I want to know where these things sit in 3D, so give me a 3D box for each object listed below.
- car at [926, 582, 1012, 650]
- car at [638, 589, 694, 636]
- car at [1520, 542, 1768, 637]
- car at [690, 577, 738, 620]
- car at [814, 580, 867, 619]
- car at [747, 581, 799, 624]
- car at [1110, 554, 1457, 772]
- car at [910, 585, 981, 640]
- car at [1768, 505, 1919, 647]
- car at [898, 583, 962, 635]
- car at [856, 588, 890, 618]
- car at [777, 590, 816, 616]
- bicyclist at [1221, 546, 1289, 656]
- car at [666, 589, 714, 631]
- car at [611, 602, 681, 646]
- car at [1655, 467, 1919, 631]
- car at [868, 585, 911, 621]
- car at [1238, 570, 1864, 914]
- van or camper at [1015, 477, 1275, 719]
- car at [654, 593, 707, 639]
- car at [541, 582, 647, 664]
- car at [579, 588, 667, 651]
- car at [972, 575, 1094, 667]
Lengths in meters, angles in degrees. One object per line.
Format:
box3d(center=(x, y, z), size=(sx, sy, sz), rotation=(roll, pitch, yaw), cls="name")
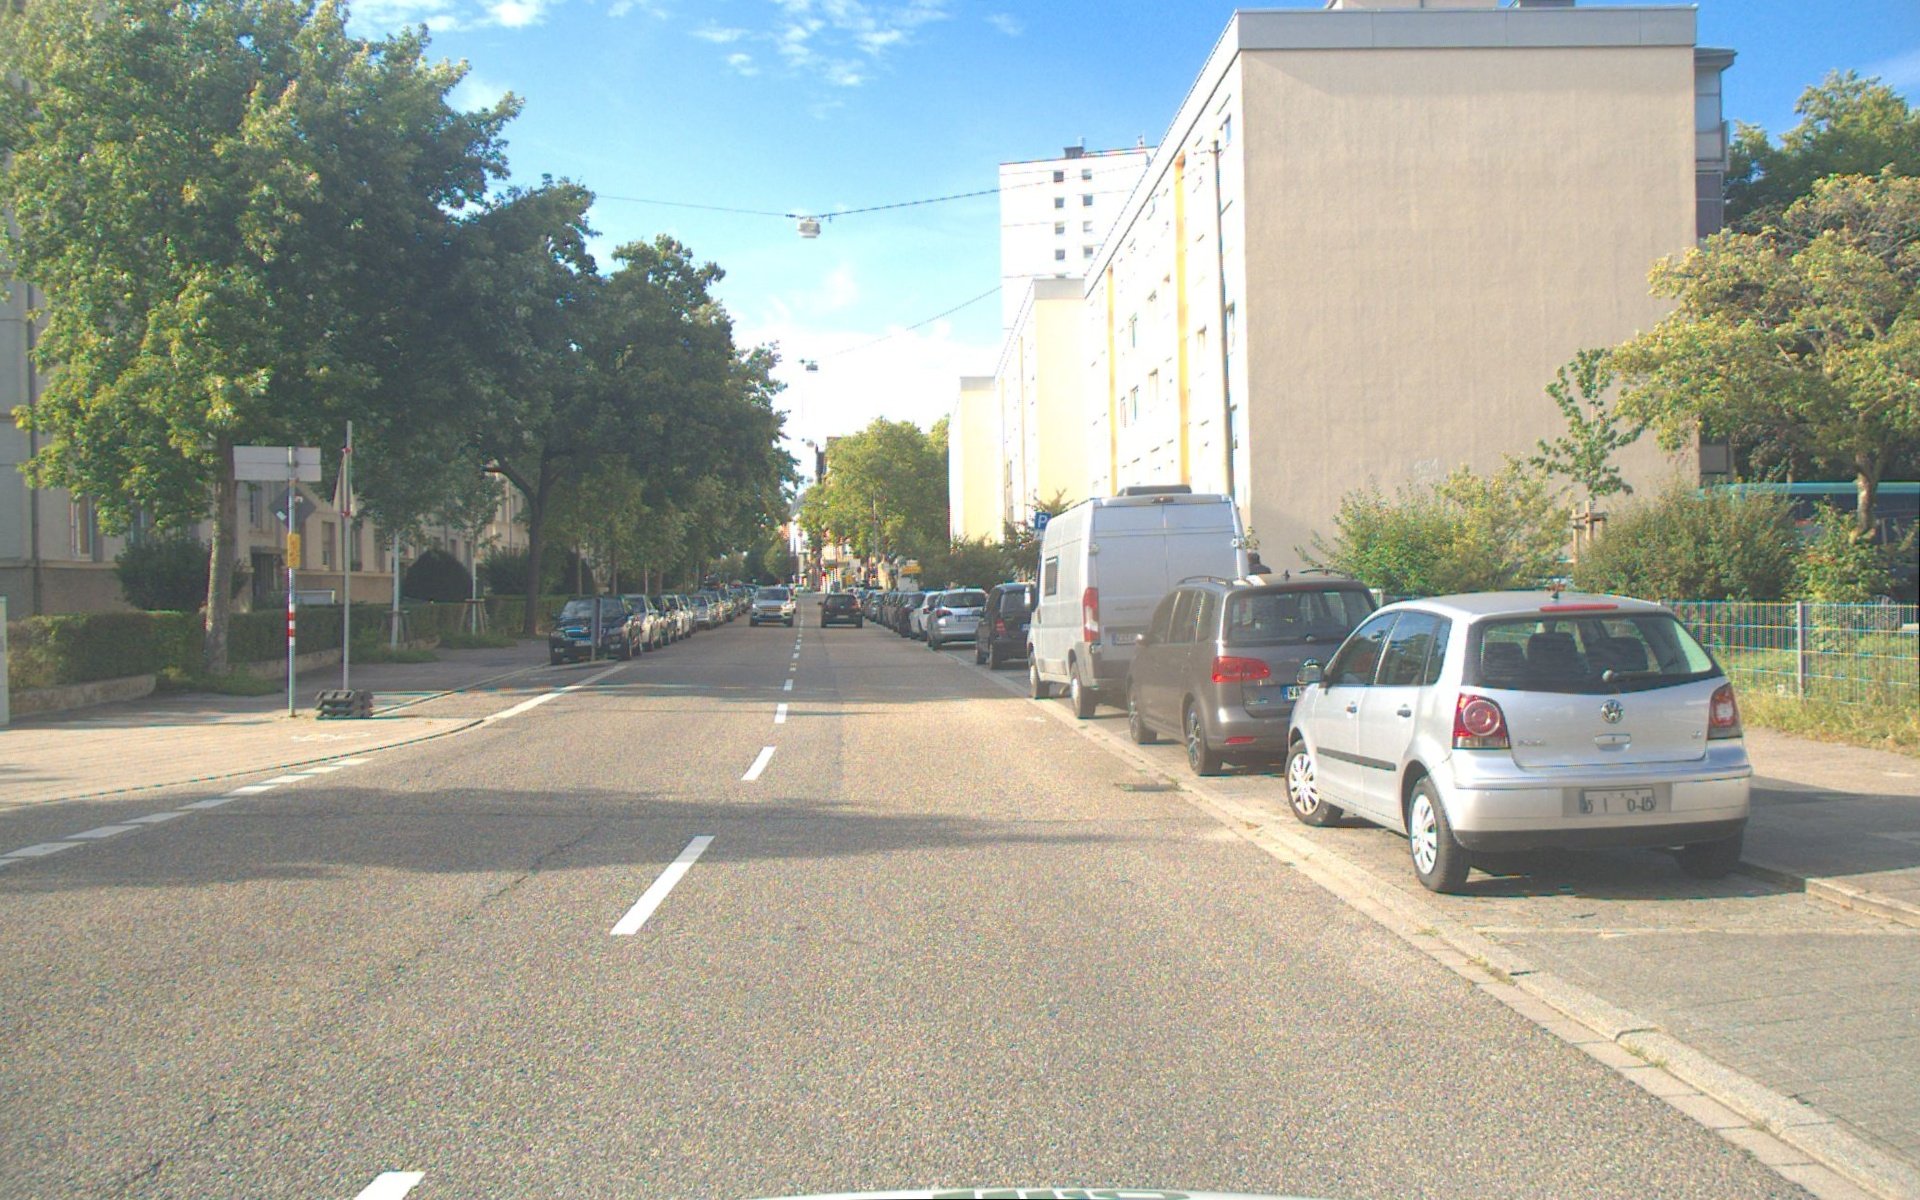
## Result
box3d(center=(0.181, 0.385, 42.695), size=(1.954, 1.601, 3.998), rotation=(-2, 1, -3), cls="car")
box3d(center=(-9.466, 0.392, 53.449), size=(1.607, 1.414, 3.427), rotation=(-2, 1, -8), cls="car")
box3d(center=(12.983, -0.199, 31.606), size=(3.904, 1.612, 2.001), rotation=(-2, 0, 3), cls="car")
box3d(center=(-12.402, -0.104, 83.694), size=(1.954, 2.048, 3.998), rotation=(-2, 1, -3), cls="car")
box3d(center=(-5.041, -0.035, 69.320), size=(1.956, 1.598, 3.992), rotation=(-1, 0, -8), cls="car")
box3d(center=(-8.009, 0.082, 70.602), size=(2.017, 1.692, 3.919), rotation=(-2, 1, -8), cls="car")
box3d(center=(2.764, 0.472, 15.230), size=(1.955, 1.644, 4.403), rotation=(-2, 1, -5), cls="car")
box3d(center=(-0.484, 0.343, 50.576), size=(1.954, 1.556, 3.998), rotation=(-2, 1, -3), cls="car")
box3d(center=(13.208, -0.374, 22.005), size=(3.904, 1.769, 2.000), rotation=(-2, 0, 1), cls="car")
box3d(center=(-1.033, 0.268, 55.243), size=(1.954, 1.601, 3.998), rotation=(-2, 1, -3), cls="car")
box3d(center=(-5.173, 0.163, 98.412), size=(1.954, 1.713, 3.998), rotation=(-2, 1, -3), cls="car")
box3d(center=(-10.253, 0.183, 103.393), size=(1.959, 1.598, 3.987), rotation=(-1, 0, -13), cls="car")
box3d(center=(4.353, 0.013, 24.458), size=(0.722, 1.540, 0.874), rotation=(-4, 0, -3), cls="bicyclist")
box3d(center=(-10.934, 0.402, 67.073), size=(1.773, 1.588, 3.427), rotation=(-2, 1, -8), cls="car")
box3d(center=(-9.086, 0.682, 48.047), size=(1.773, 1.135, 3.584), rotation=(-2, 1, -8), cls="car")
box3d(center=(12.725, -0.754, 24.430), size=(4.034, 2.224, 2.000), rotation=(-2, 0, 1), cls="car")
box3d(center=(-3.426, 0.118, 80.137), size=(1.954, 1.601, 3.998), rotation=(-2, 1, -3), cls="car")
box3d(center=(3.147, 0.655, 10.067), size=(1.975, 1.500, 4.801), rotation=(-3, 0, -1), cls="car")
box3d(center=(2.183, -0.051, 21.277), size=(2.167, 2.652, 5.365), rotation=(-2, 1, -6), cls="van or camper")
box3d(center=(-10.244, 0.564, 60.838), size=(1.773, 1.588, 3.427), rotation=(-2, 1, -8), cls="car")
box3d(center=(-8.171, 0.475, 37.245), size=(1.956, 1.668, 3.993), rotation=(-2, 1, -8), cls="car")
box3d(center=(-8.620, 0.467, 42.594), size=(1.956, 1.476, 3.897), rotation=(-2, 1, -8), cls="car")
box3d(center=(1.350, 0.354, 32.078), size=(1.954, 1.601, 3.998), rotation=(-2, 1, -3), cls="car")
